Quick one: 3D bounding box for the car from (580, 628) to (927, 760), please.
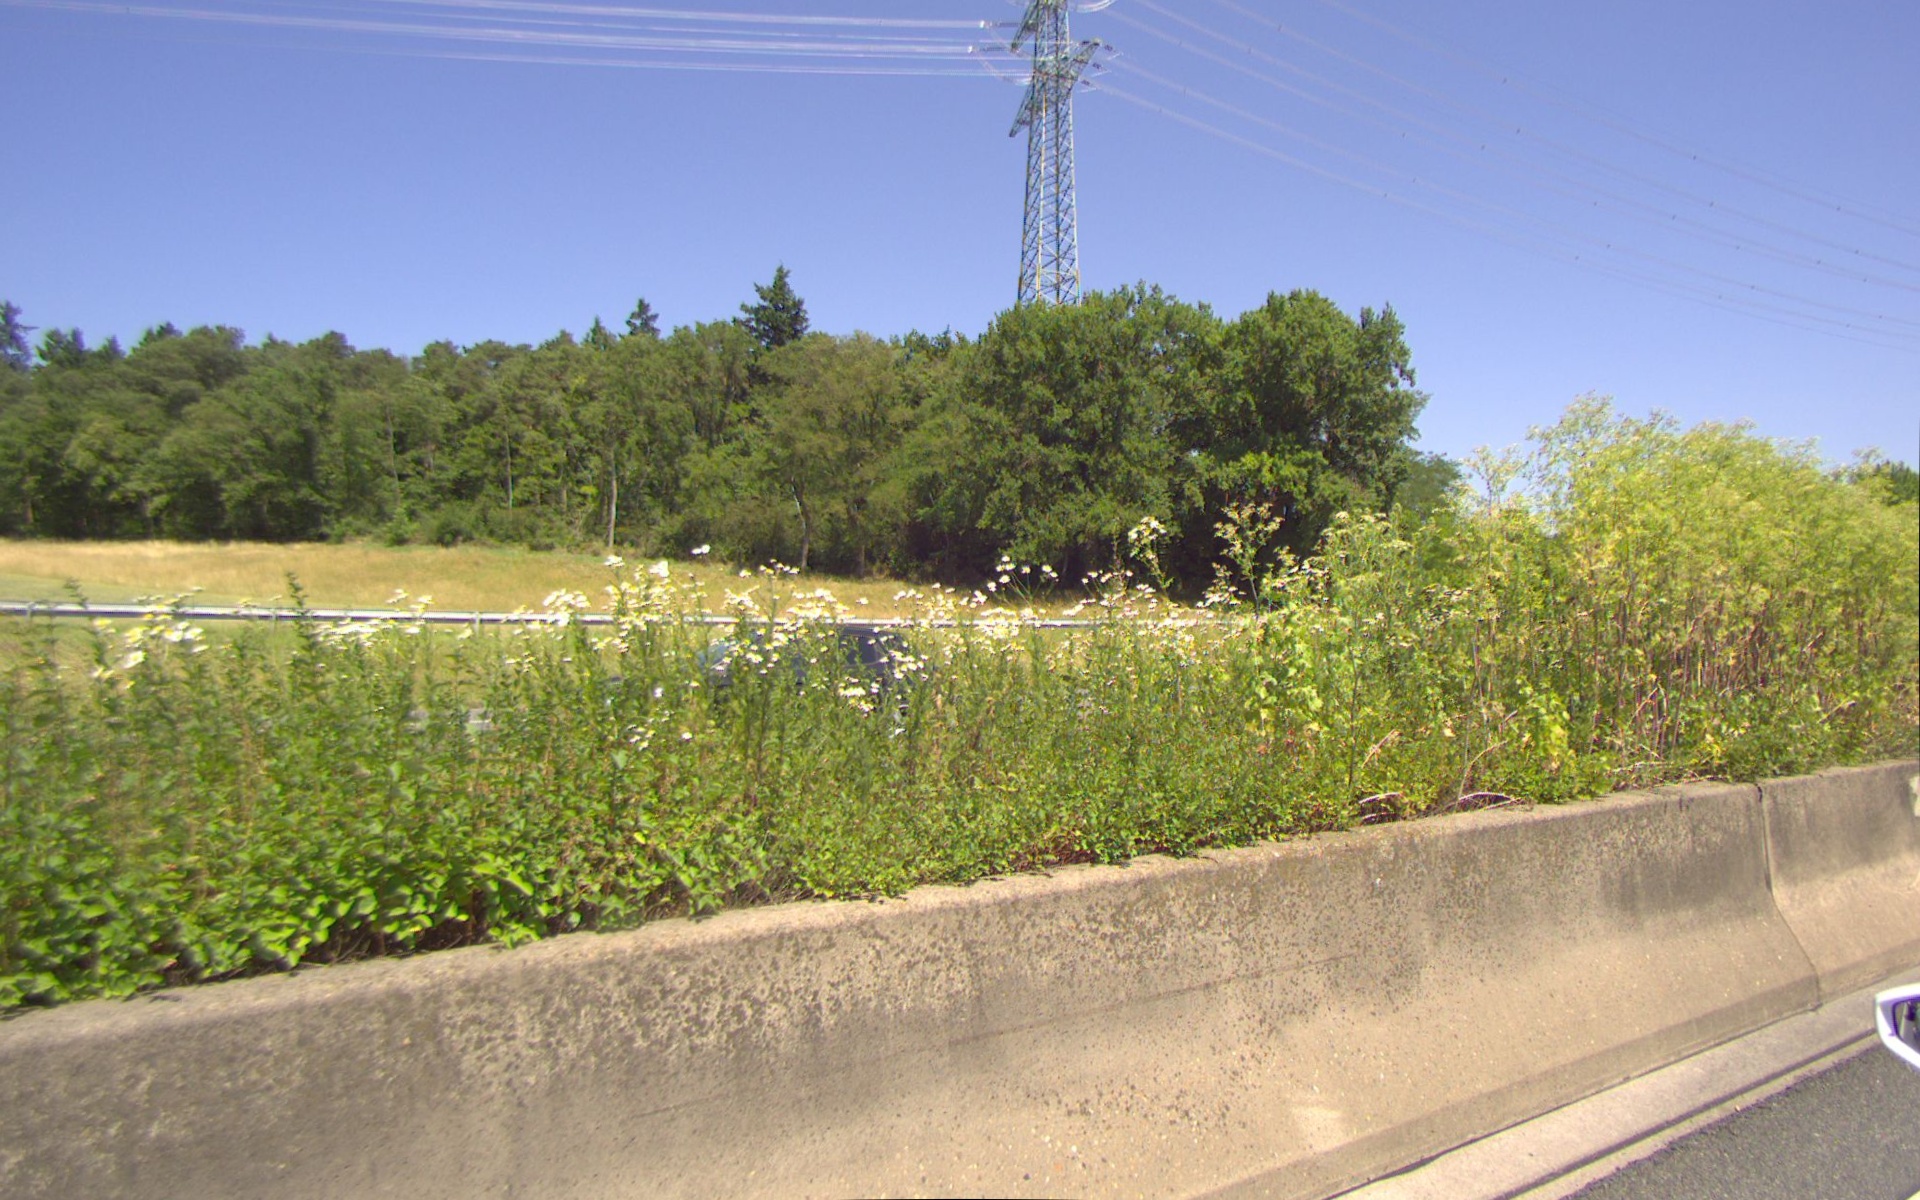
[{"bbox_3d":[-2.207,0.931,10.840,3.303,1.146,1.667,2,0,-31],"label":"car"}]
